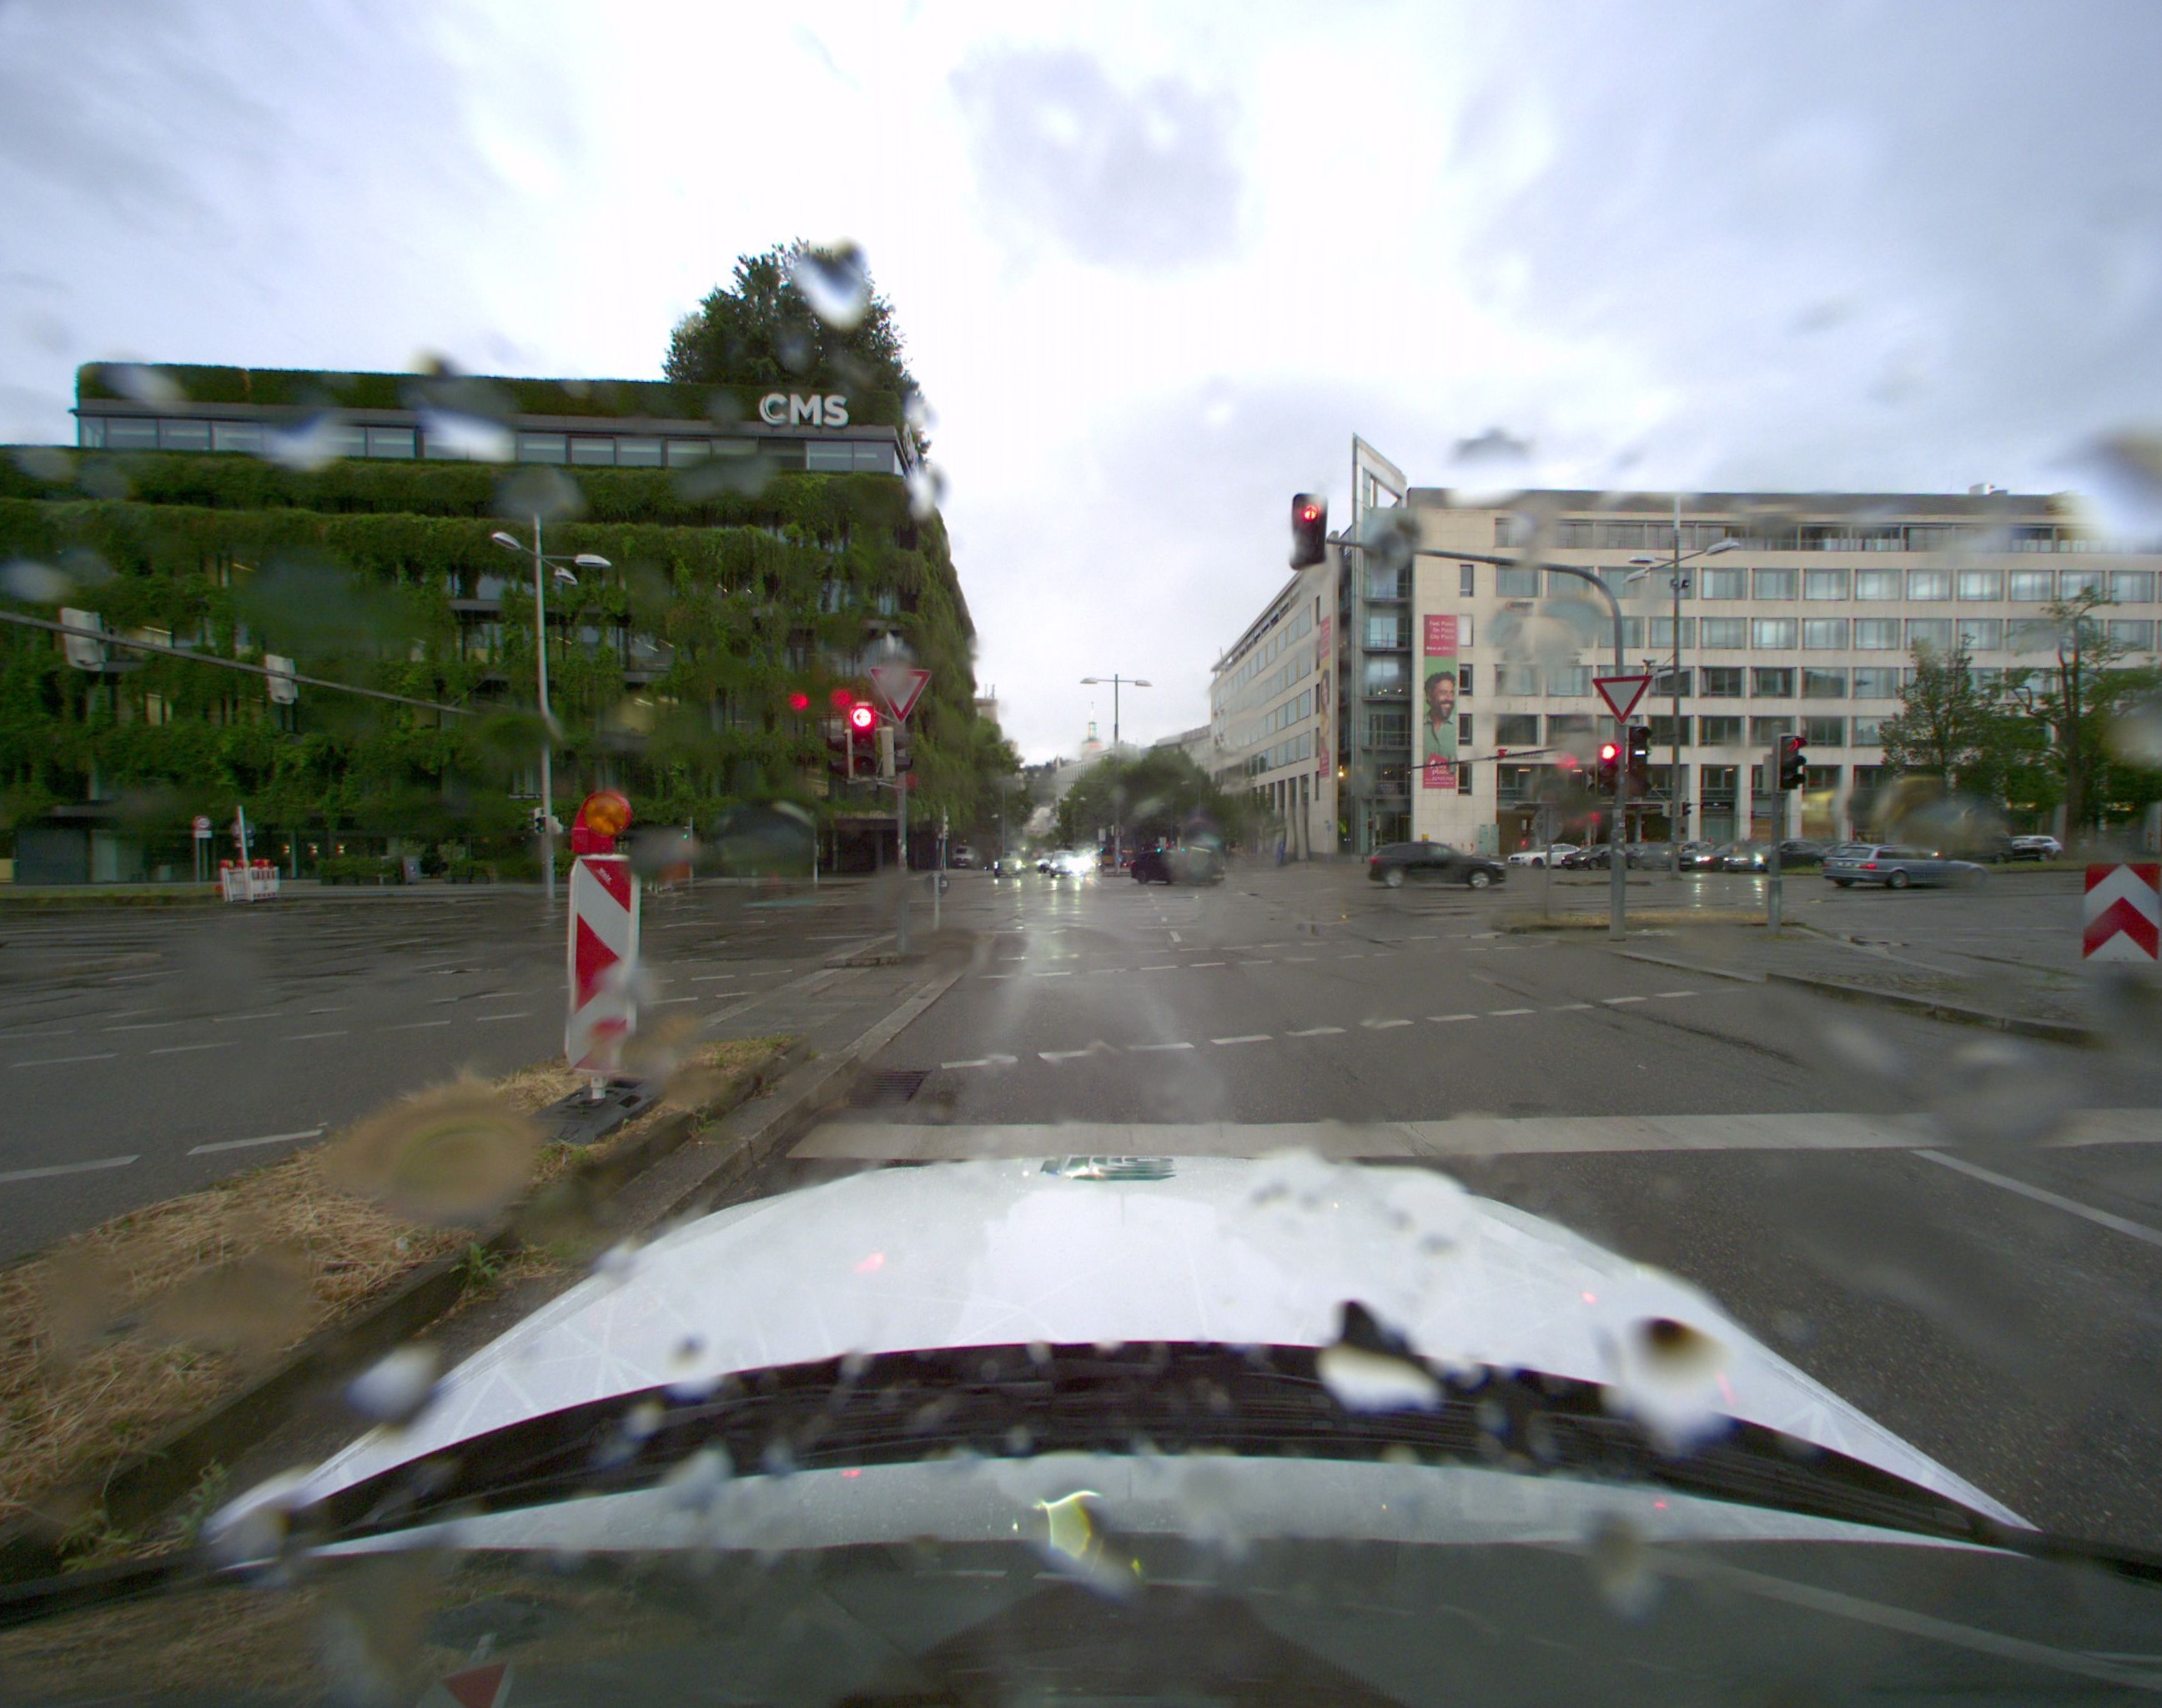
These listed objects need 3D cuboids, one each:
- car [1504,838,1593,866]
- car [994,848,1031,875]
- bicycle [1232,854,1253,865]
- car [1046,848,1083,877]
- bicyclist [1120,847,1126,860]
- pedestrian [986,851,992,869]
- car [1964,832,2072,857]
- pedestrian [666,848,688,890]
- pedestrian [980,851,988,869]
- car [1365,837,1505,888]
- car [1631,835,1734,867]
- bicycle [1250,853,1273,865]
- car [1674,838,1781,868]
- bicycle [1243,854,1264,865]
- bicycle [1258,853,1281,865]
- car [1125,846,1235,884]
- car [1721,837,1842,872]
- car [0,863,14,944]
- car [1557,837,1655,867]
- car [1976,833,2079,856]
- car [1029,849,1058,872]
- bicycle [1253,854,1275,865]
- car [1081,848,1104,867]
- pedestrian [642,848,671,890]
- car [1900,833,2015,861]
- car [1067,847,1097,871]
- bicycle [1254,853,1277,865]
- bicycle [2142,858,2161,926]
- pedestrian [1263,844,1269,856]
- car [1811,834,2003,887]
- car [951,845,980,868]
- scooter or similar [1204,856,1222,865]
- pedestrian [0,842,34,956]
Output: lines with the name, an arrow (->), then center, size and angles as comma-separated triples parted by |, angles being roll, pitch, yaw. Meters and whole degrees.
car -> 27.952, -0.126, 48.725 | 4.456, 1.598, 1.991 | -1, 0, -14
car -> -4.290, 0.462, 51.532 | 1.988, 1.598, 4.463 | -1, 0, -1
bicycle -> 14.401, 0.467, 72.578 | 1.786, 0.934, 0.476 | -1, 0, 4
car -> -0.897, 0.454, 46.886 | 1.987, 1.443, 4.557 | -1, 1, 1
bicyclist -> 5.990, -0.063, 117.220 | 0.789, 1.975, 1.114 | -1, 0, -1
pedestrian -> -7.784, 0.507, 68.961 | 0.435, 1.524, 0.547 | -1, 0, -3
car -> 53.602, -0.536, 46.612 | 4.634, 1.348, 1.921 | -1, 0, -10
pedestrian -> -17.356, 0.624, 35.016 | 0.744, 1.758, 0.969 | -1, 0, -22
pedestrian -> -8.203, 0.492, 68.866 | 0.605, 1.524, 0.587 | -1, 0, -3
car -> 12.239, 0.279, 28.387 | 4.313, 1.655, 1.981 | -1, 1, 21
car -> 31.677, -0.177, 42.912 | 4.455, 1.598, 1.991 | -1, 0, -13
bicycle -> 14.187, 0.412, 64.048 | 1.778, 0.934, 0.478 | -1, 0, 43
car -> 31.364, -0.052, 39.545 | 4.455, 1.348, 1.715 | -1, 0, -13
bicycle -> 14.968, 0.451, 70.715 | 1.786, 0.934, 0.476 | -1, 0, 4
bicycle -> 14.977, 0.397, 64.672 | 1.778, 0.934, 0.478 | -1, 0, 43
car -> 3.981, 0.415, 33.518 | 1.871, 1.448, 4.569 | -1, 1, -37
car -> 31.209, 0.003, 36.308 | 4.452, 1.464, 1.716 | -1, 0, -11
car -> -27.138, 1.199, 18.223 | 3.451, 1.922, 1.992 | -1, 0, -11
car -> 29.210, -0.122, 45.388 | 4.451, 1.598, 1.993 | -1, 0, -10
car -> 58.890, -0.613, 50.723 | 4.629, 1.348, 1.923 | -1, 0, -6
car -> -3.084, 0.505, 65.867 | 2.171, 1.823, 4.637 | -1, 0, -4
bicycle -> 14.907, 0.444, 66.385 | 1.778, 0.934, 0.478 | -1, 0, 43
car -> 1.032, 0.308, 72.831 | 1.987, 1.529, 4.556 | -1, 1, 0
pedestrian -> -18.062, 0.629, 34.685 | 0.939, 1.758, 1.163 | -1, 0, -22
car -> 45.244, -0.356, 42.070 | 4.637, 1.348, 1.919 | -1, 0, -12
car -> 0.112, 0.315, 58.665 | 1.986, 1.529, 4.558 | -1, 1, 2
bicycle -> 14.846, 0.404, 65.641 | 1.778, 0.934, 0.478 | -1, 0, 43
bicycle -> 18.781, 0.617, 13.137 | 2.136, 1.103, 0.849 | -1, 0, 3
pedestrian -> 17.839, -0.352, 78.375 | 0.356, 1.173, 0.410 | -1, -1, -40
car -> 26.232, 0.173, 25.945 | 4.443, 1.486, 1.996 | -2, 1, -6
car -> -9.704, 0.203, 68.718 | 1.989, 1.895, 4.461 | -1, 0, -2
scooter or similar -> 12.945, 0.633, 79.739 | 1.750, 0.878, 0.486 | -1, 0, -18
pedestrian -> -18.231, 0.746, 13.278 | 0.687, 1.885, 1.236 | 1, 0, -3
